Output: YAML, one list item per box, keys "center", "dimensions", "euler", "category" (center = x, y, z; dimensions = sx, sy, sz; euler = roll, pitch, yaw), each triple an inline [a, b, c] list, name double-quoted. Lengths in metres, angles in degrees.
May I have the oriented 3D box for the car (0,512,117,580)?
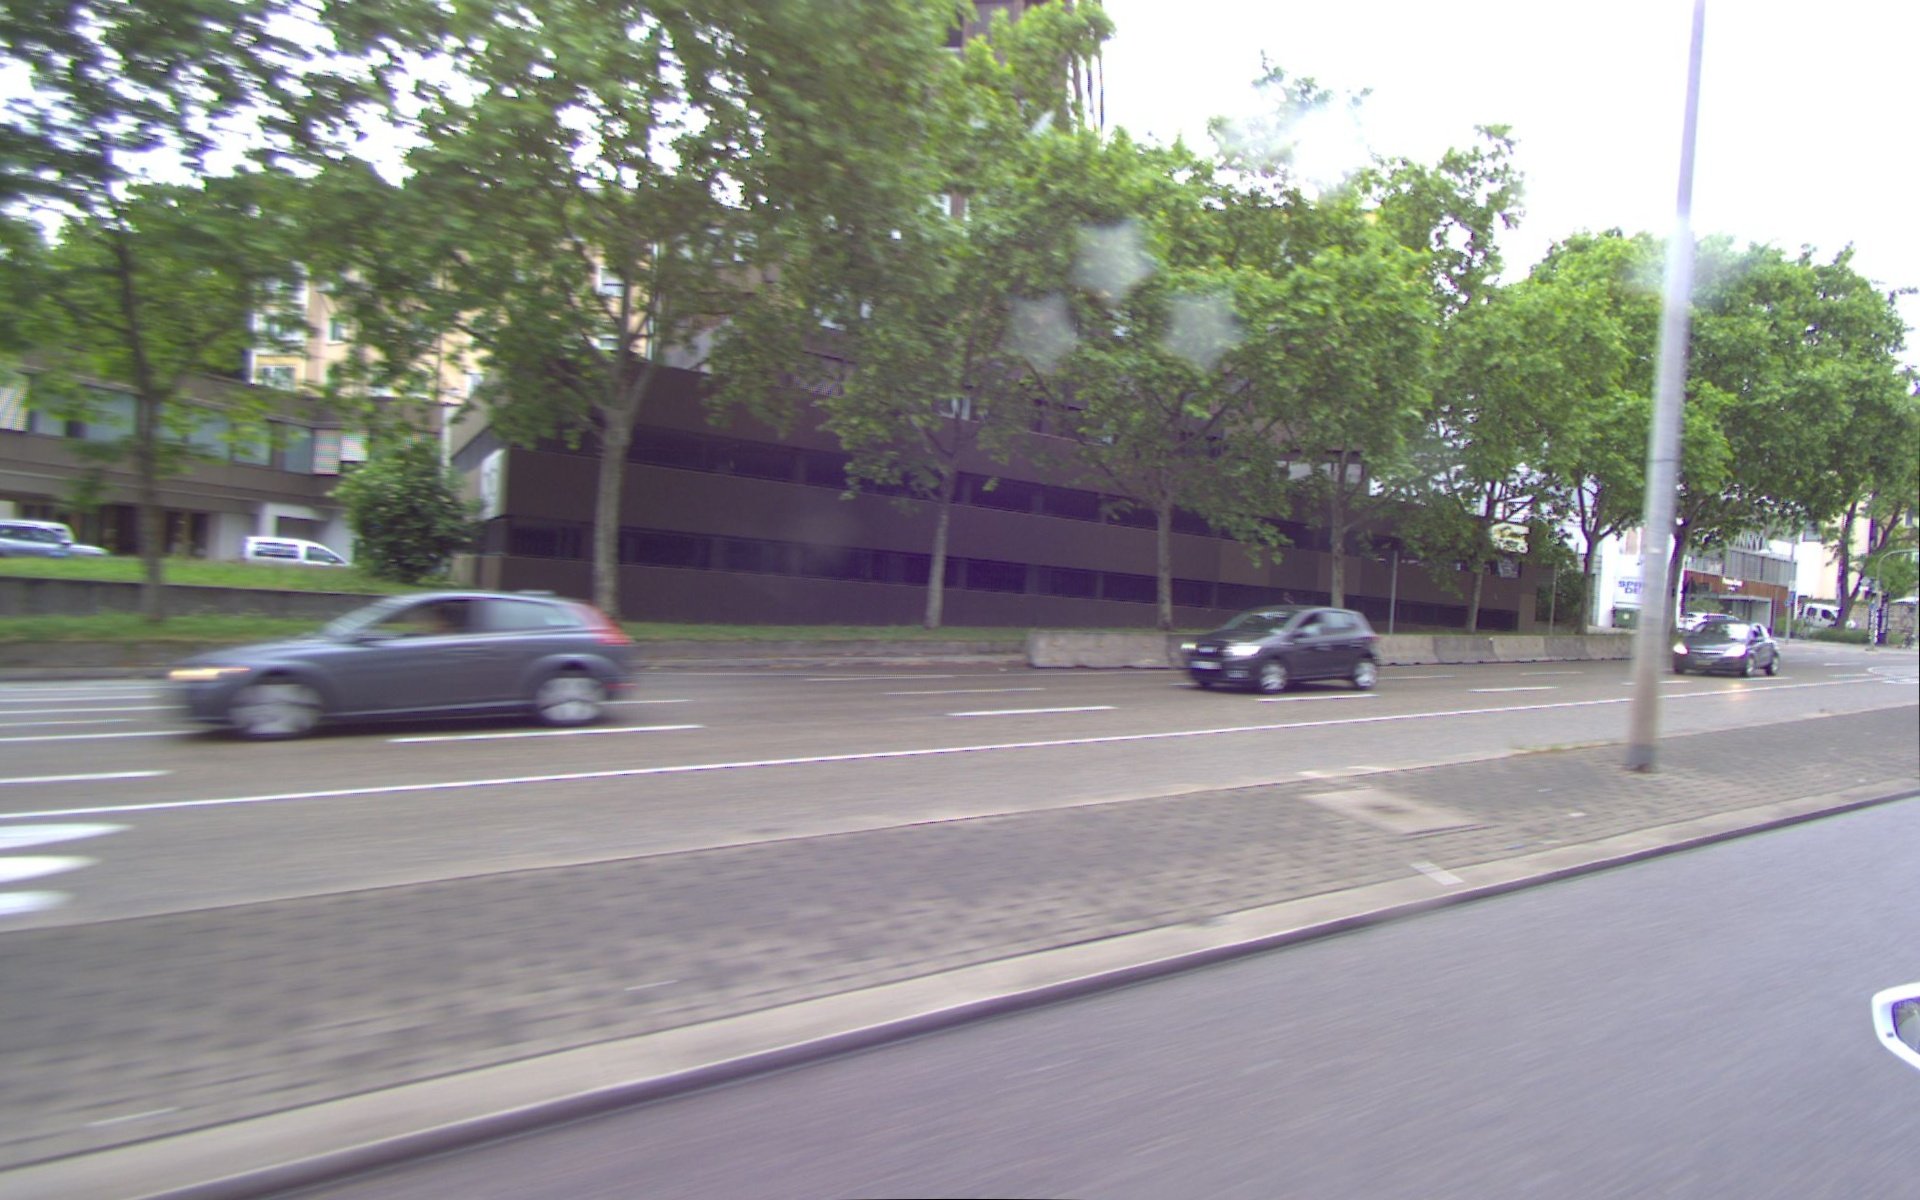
- center: [-26.678, -1.530, 28.388]
  dimensions: [1.959, 1.740, 4.002]
  euler: [2, 0, 10]
  category: "car"

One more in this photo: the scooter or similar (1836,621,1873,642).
- center: [61.410, 2.132, 68.963]
  dimensions: [1.724, 1.263, 0.370]
  euler: [6, 2, 29]
  category: "scooter or similar"

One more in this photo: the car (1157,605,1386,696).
- center: [5.715, 0.866, 18.296]
  dimensions: [4.034, 1.456, 1.921]
  euler: [1, 0, -35]
  category: "car"

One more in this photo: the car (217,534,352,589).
- center: [-24.608, -1.360, 36.662]
  dimensions: [3.962, 1.740, 1.979]
  euler: [2, 0, -36]
  category: "car"

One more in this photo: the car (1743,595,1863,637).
- center: [68.262, 1.221, 81.537]
  dimensions: [2.485, 2.307, 6.865]
  euler: [-1, 9, -31]
  category: "car"

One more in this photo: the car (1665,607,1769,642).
- center: [47.643, 1.530, 63.299]
  dimensions: [4.746, 1.675, 2.001]
  euler: [5, 2, 6]
  category: "car"

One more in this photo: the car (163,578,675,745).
- center: [-5.561, 0.564, 10.768]
  dimensions: [4.457, 1.456, 1.922]
  euler: [1, 0, -33]
  category: "car"

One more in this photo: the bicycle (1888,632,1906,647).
- center: [65.858, 2.794, 70.585]
  dimensions: [1.739, 1.004, 0.454]
  euler: [3, 1, -33]
  category: "bicycle"

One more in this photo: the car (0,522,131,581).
- center: [-29.549, -1.525, 32.782]
  dimensions: [1.963, 1.740, 3.995]
  euler: [1, 0, -7]
  category: "car"

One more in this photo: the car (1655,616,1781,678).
- center: [20.889, 1.217, 27.615]
  dimensions: [4.139, 1.520, 1.917]
  euler: [0, 0, -41]
  category: "car"
